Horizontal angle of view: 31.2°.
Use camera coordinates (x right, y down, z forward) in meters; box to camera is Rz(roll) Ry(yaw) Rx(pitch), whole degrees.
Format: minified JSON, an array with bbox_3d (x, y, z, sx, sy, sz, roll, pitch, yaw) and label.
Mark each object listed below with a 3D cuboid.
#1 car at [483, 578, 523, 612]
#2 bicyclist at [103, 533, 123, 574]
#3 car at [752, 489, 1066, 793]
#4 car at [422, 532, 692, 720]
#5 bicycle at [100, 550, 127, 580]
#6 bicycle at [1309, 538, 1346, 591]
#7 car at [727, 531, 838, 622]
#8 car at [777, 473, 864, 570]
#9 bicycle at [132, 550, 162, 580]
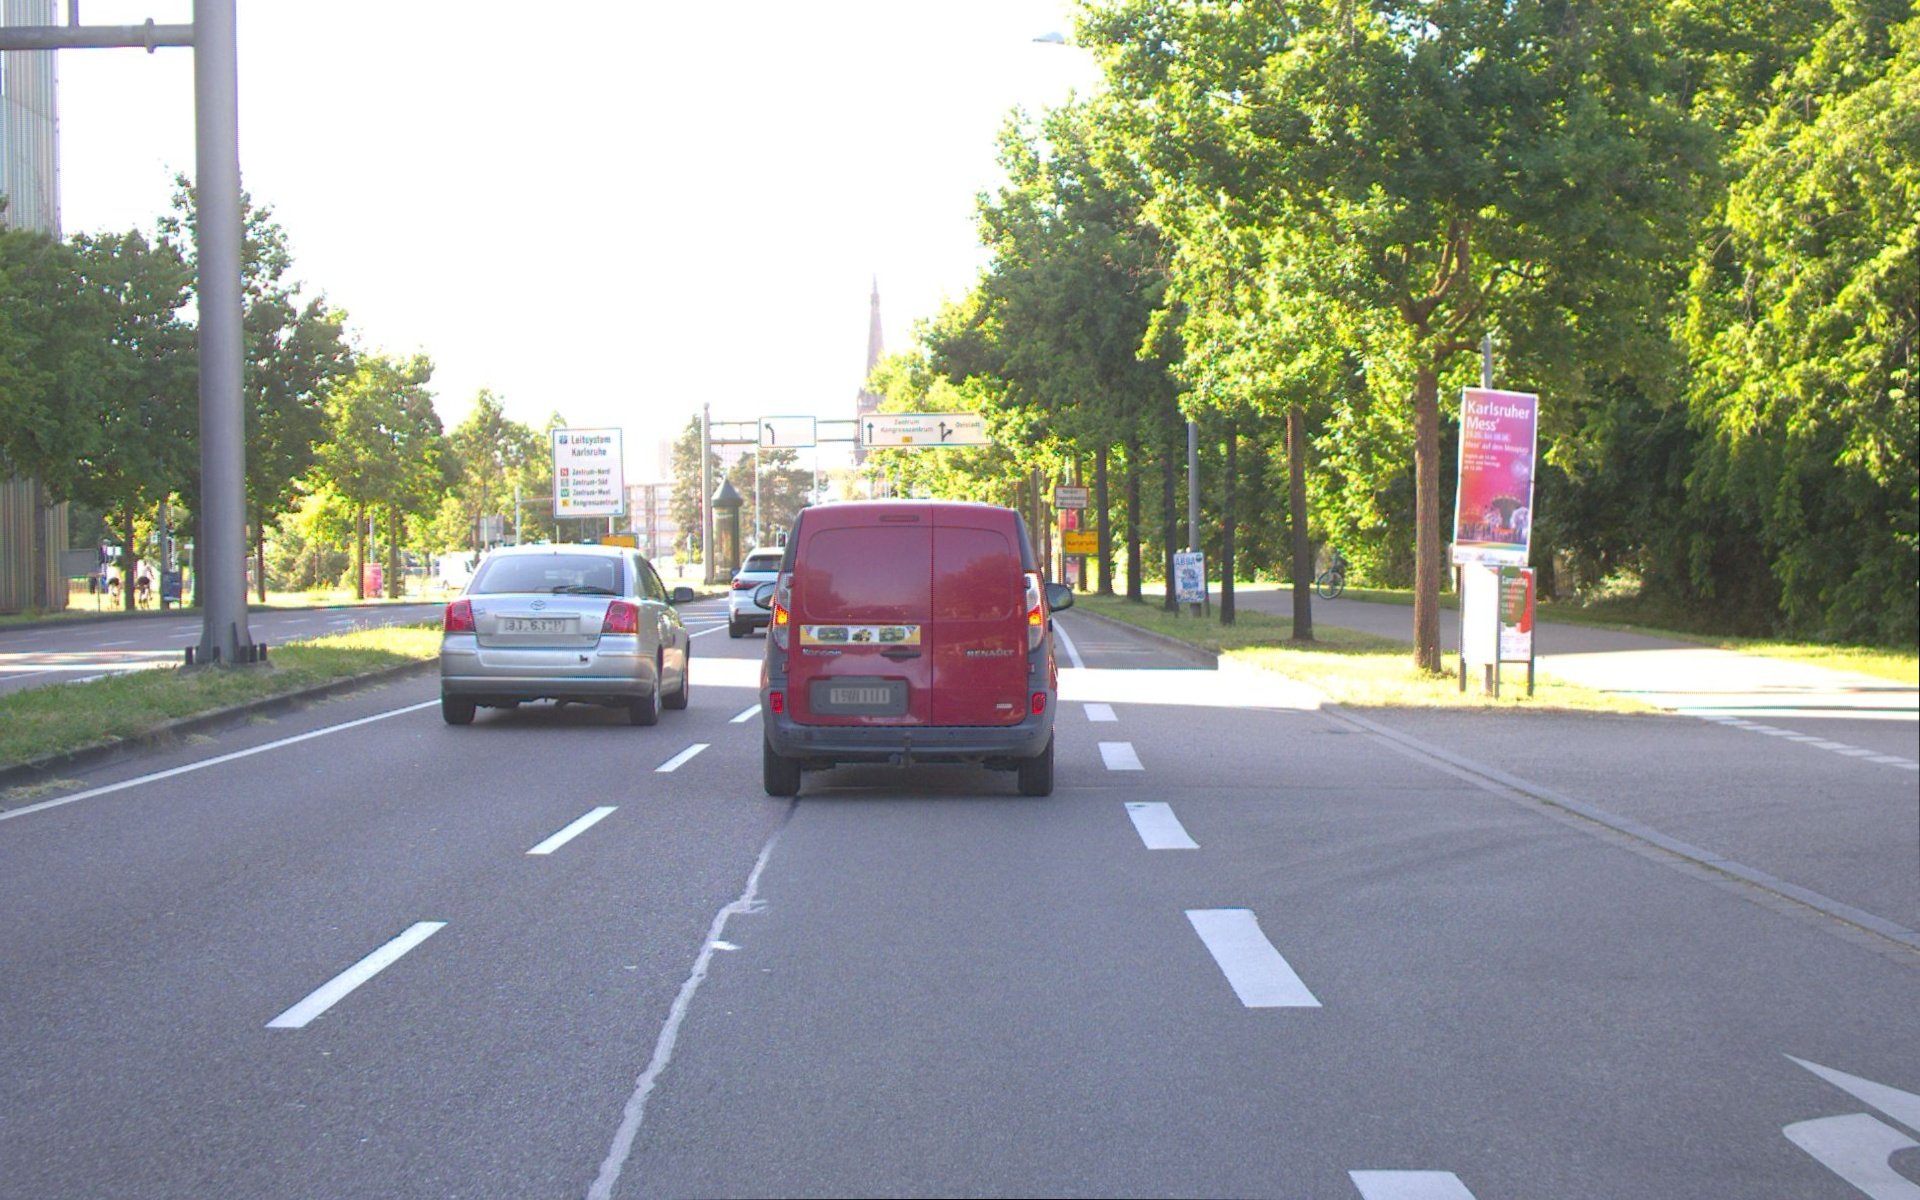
[{"bbox_3d":[-20.455,-0.245,153.917,1.446,1.431,3.460,-1,1,-3],"label":"car"},{"bbox_3d":[-28.842,-1.588,117.053,0.482,1.390,0.844,-1,0,-2],"label":"bicyclist"},{"bbox_3d":[-0.351,0.207,21.900,1.806,1.753,4.006,0,1,-2],"label":"car"},{"bbox_3d":[-3.306,0.170,28.895,1.841,1.451,4.162,0,1,-1],"label":"car"},{"bbox_3d":[-28.822,-1.183,117.091,0.487,1.000,2.096,-1,0,-2],"label":"bicycle"},{"bbox_3d":[7.973,-0.775,74.489,0.774,1.127,1.708,-1,1,7],"label":"bicycle"},{"bbox_3d":[-2.808,-0.389,54.990,1.661,1.393,3.559,-1,1,-2],"label":"car"},{"bbox_3d":[-2.764,-1.557,68.714,1.661,1.850,3.559,-1,1,-2],"label":"car"},{"bbox_3d":[-27.622,-1.181,116.800,0.570,1.000,2.096,-1,0,-2],"label":"bicycle"}]
